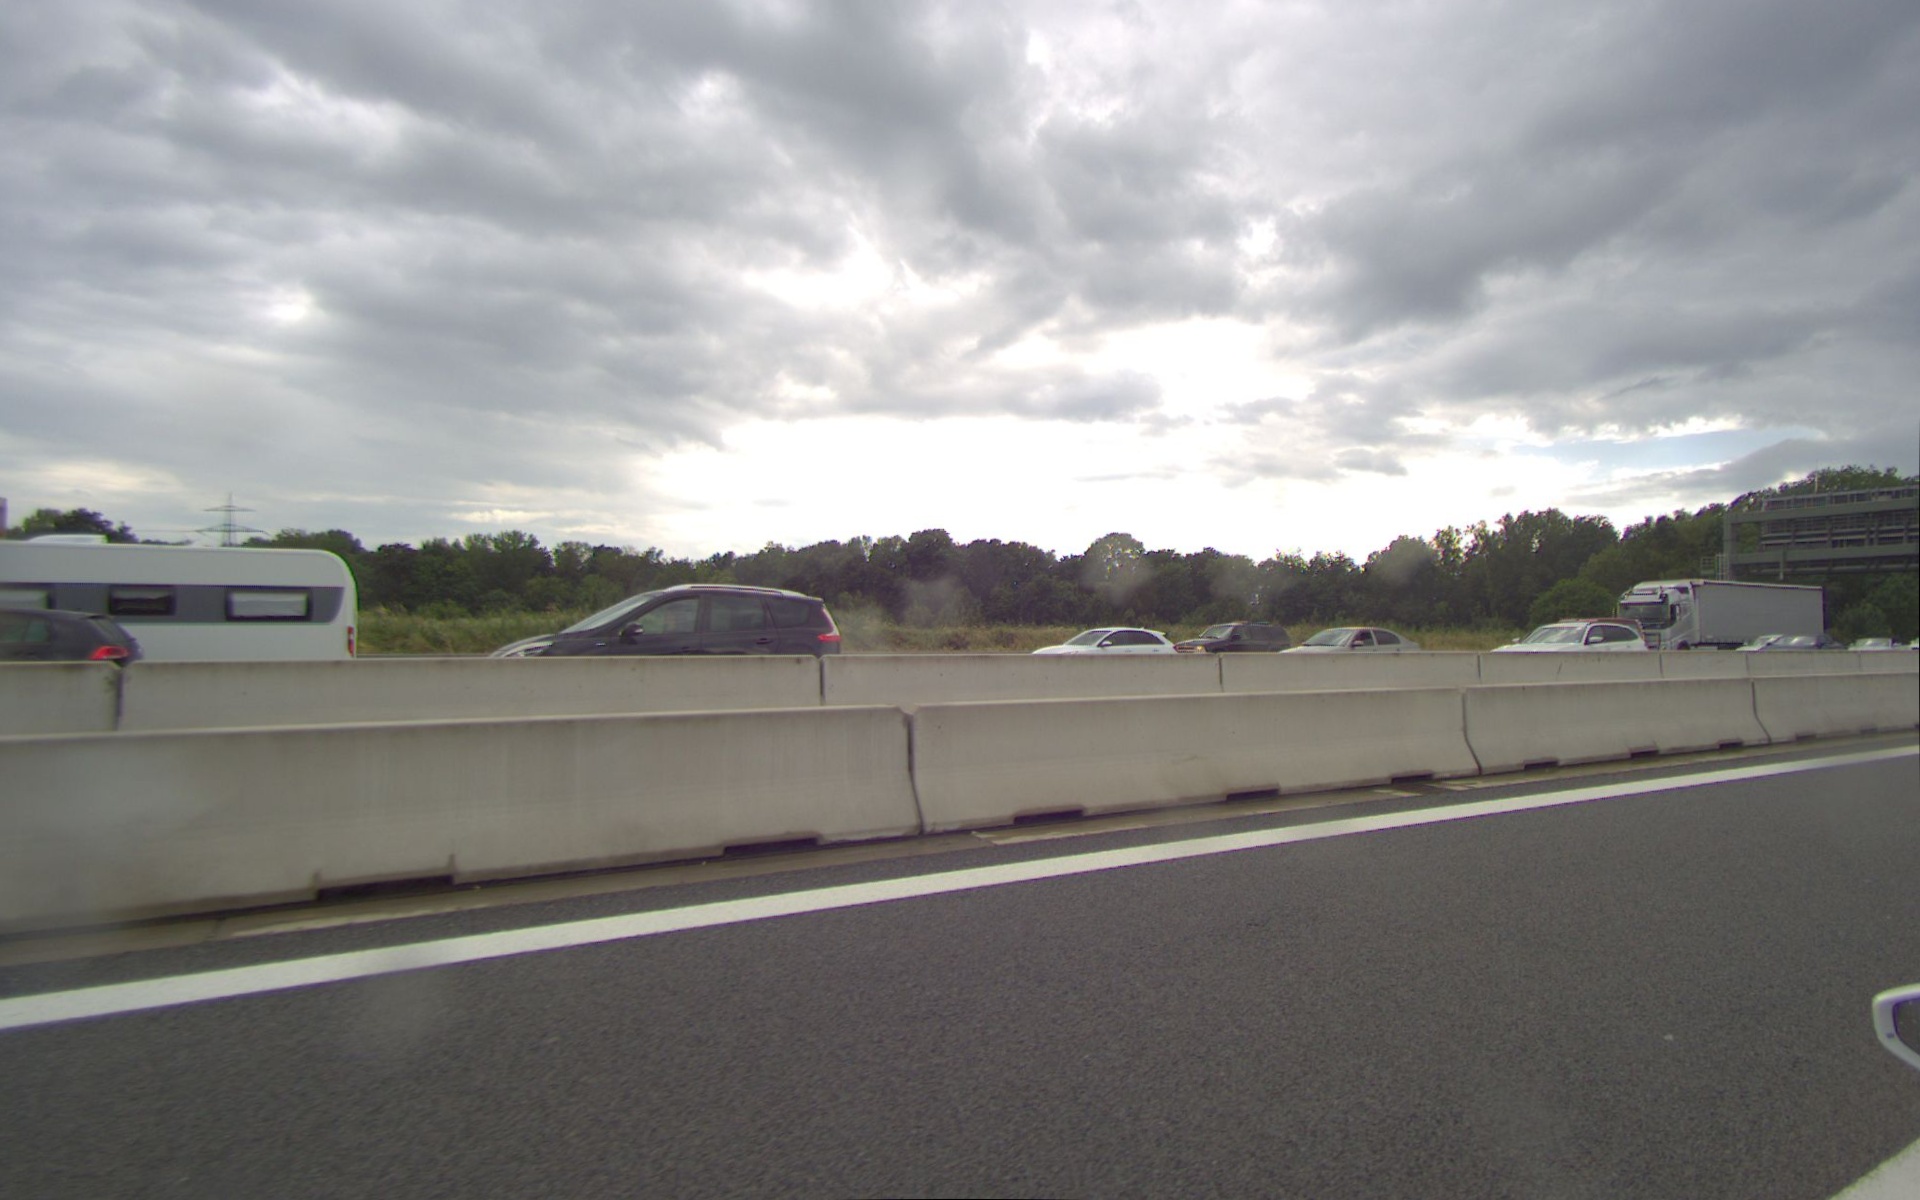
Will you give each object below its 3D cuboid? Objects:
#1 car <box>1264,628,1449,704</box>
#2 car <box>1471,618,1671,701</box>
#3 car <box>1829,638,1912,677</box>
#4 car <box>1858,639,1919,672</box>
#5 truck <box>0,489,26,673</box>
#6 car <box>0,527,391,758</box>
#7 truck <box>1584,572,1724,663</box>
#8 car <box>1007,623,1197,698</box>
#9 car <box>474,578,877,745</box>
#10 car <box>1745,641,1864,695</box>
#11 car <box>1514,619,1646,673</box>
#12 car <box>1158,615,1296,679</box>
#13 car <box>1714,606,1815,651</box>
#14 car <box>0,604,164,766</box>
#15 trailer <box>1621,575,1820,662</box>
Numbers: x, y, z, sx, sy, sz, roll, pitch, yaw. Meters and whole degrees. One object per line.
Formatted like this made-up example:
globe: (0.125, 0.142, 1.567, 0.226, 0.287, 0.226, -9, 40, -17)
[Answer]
car: (10.250, 1.630, 25.895, 4.644, 1.737, 1.984, 1, 0, -30)
car: (14.438, 1.337, 23.661, 4.814, 1.737, 1.984, 1, 0, -30)
car: (45.834, 2.847, 50.537, 4.618, 1.805, 1.812, 1, 0, -30)
car: (60.244, 3.536, 64.520, 4.770, 1.978, 2.420, 1, 0, -29)
truck: (-23.217, -0.467, 17.653, 9.465, 3.661, 2.865, 1, 0, -30)
car: (-13.093, 0.638, 16.456, 6.487, 3.321, 2.647, 1, 0, -31)
truck: (33.446, 0.854, 48.399, 6.159, 4.111, 3.205, 1, 0, -30)
car: (3.710, 1.514, 26.012, 4.644, 1.737, 1.984, 1, 0, -30)
car: (-3.580, 0.700, 12.852, 4.618, 1.805, 1.984, 1, 0, -30)
car: (32.473, 2.555, 38.594, 4.703, 1.898, 1.984, 1, 0, -30)
car: (23.657, 1.719, 38.298, 5.328, 1.898, 1.984, 1, 0, -30)
car: (9.209, 1.567, 34.557, 4.488, 2.040, 1.984, 1, 0, -30)
car: (36.544, 1.285, 45.616, 4.703, 1.898, 1.984, 1, 0, -30)
car: (-12.627, 1.011, 12.515, 3.953, 1.929, 1.984, 1, 0, -30)
trailer: (39.675, 0.993, 52.110, 13.645, 4.082, 3.223, 1, 0, -30)
